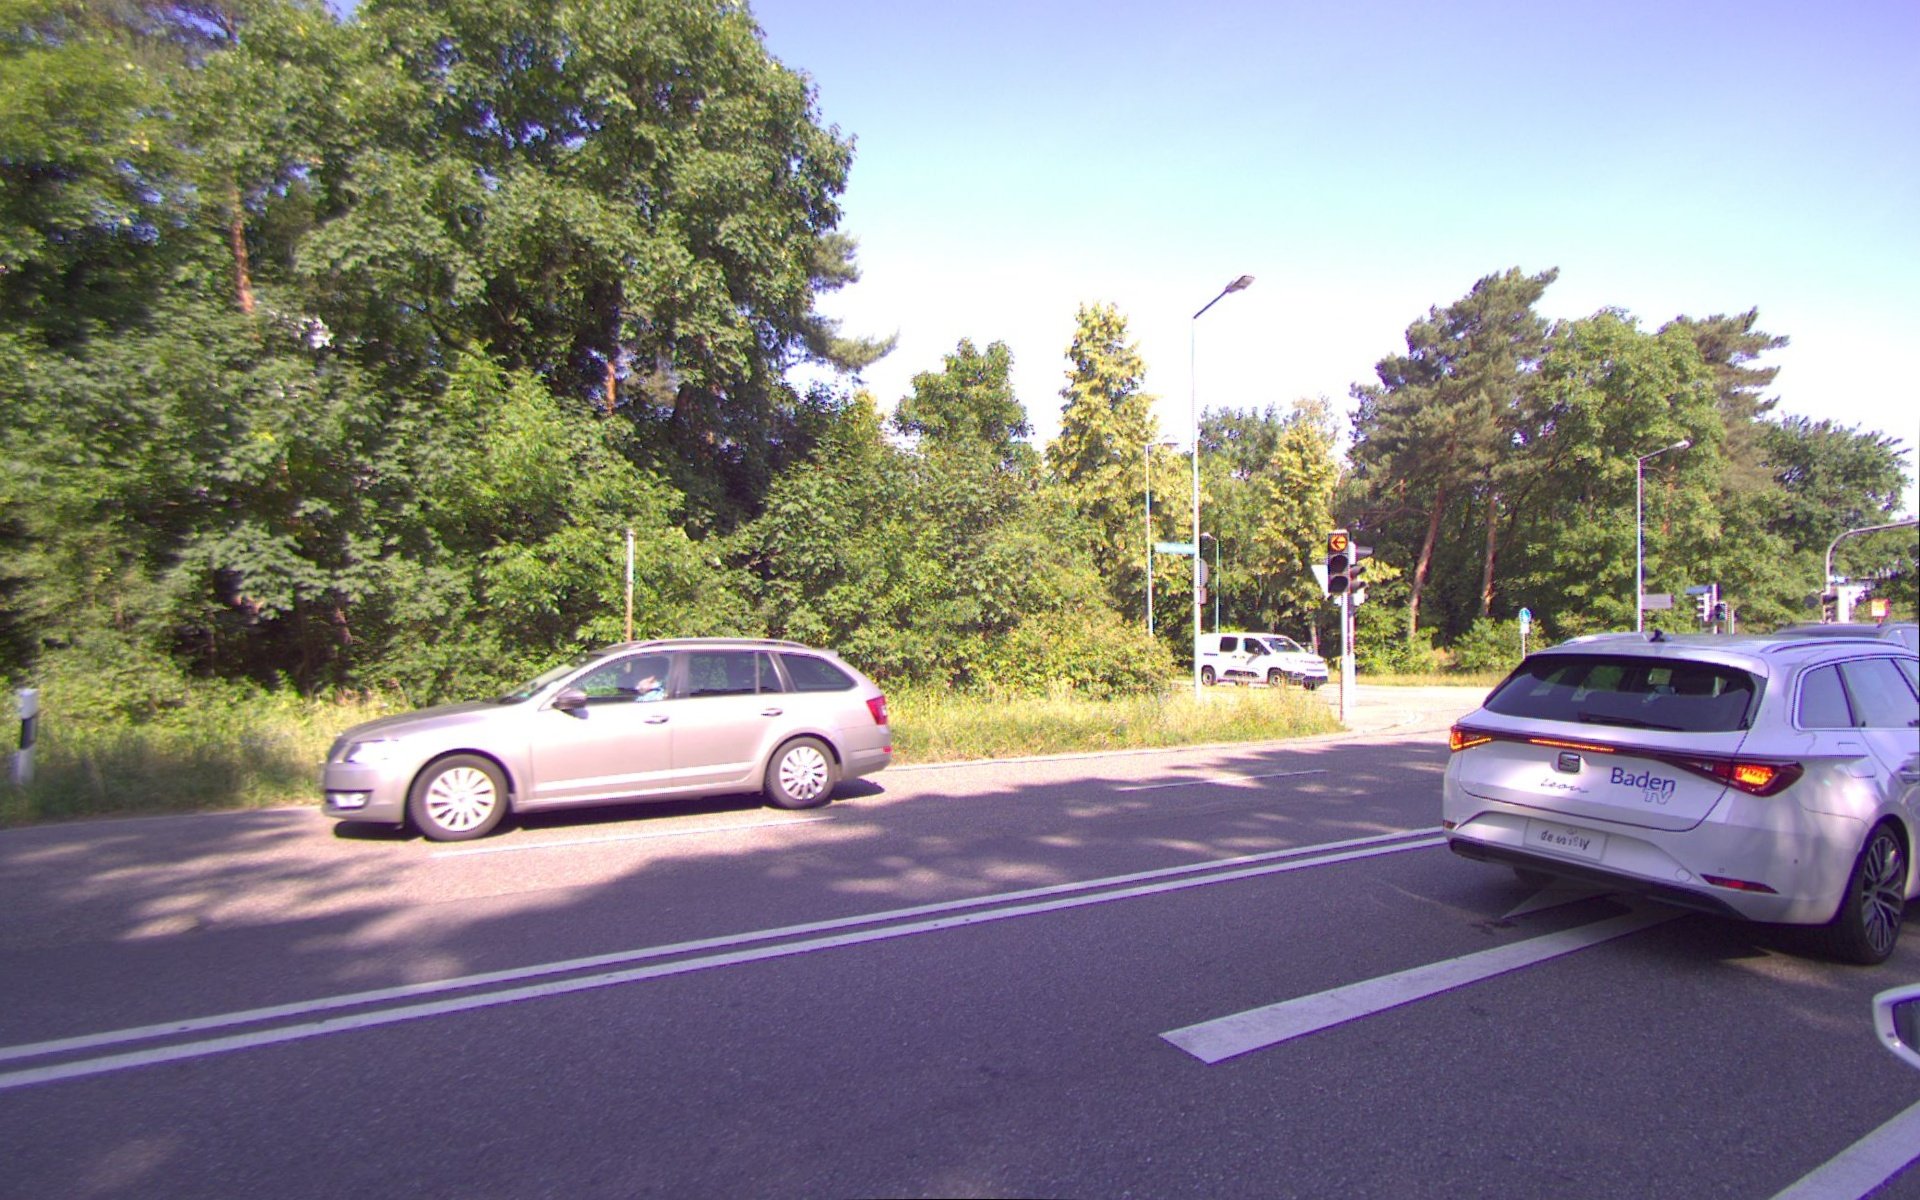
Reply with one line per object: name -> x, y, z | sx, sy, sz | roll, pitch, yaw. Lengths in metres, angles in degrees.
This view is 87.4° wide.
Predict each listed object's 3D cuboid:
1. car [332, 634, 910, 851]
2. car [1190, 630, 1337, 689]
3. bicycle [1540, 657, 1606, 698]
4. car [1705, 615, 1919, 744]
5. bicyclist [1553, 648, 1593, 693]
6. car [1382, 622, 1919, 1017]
car -> -2.763, 1.034, 8.629 | 4.411, 1.452, 1.694 | 1, -3, -32
car -> 9.787, 1.933, 32.780 | 1.831, 1.801, 4.626 | 2, -4, -30
bicycle -> 18.431, 2.307, 30.173 | 2.347, 1.178, 0.728 | 2, -2, -33
car -> 13.452, 1.174, 15.348 | 4.341, 1.719, 1.782 | 2, -4, -31
bicyclist -> 18.399, 2.102, 30.152 | 0.874, 1.328, 0.717 | 1, -2, -33
car -> 4.564, 0.890, 5.669 | 4.371, 1.443, 1.775 | 1, 0, -31
